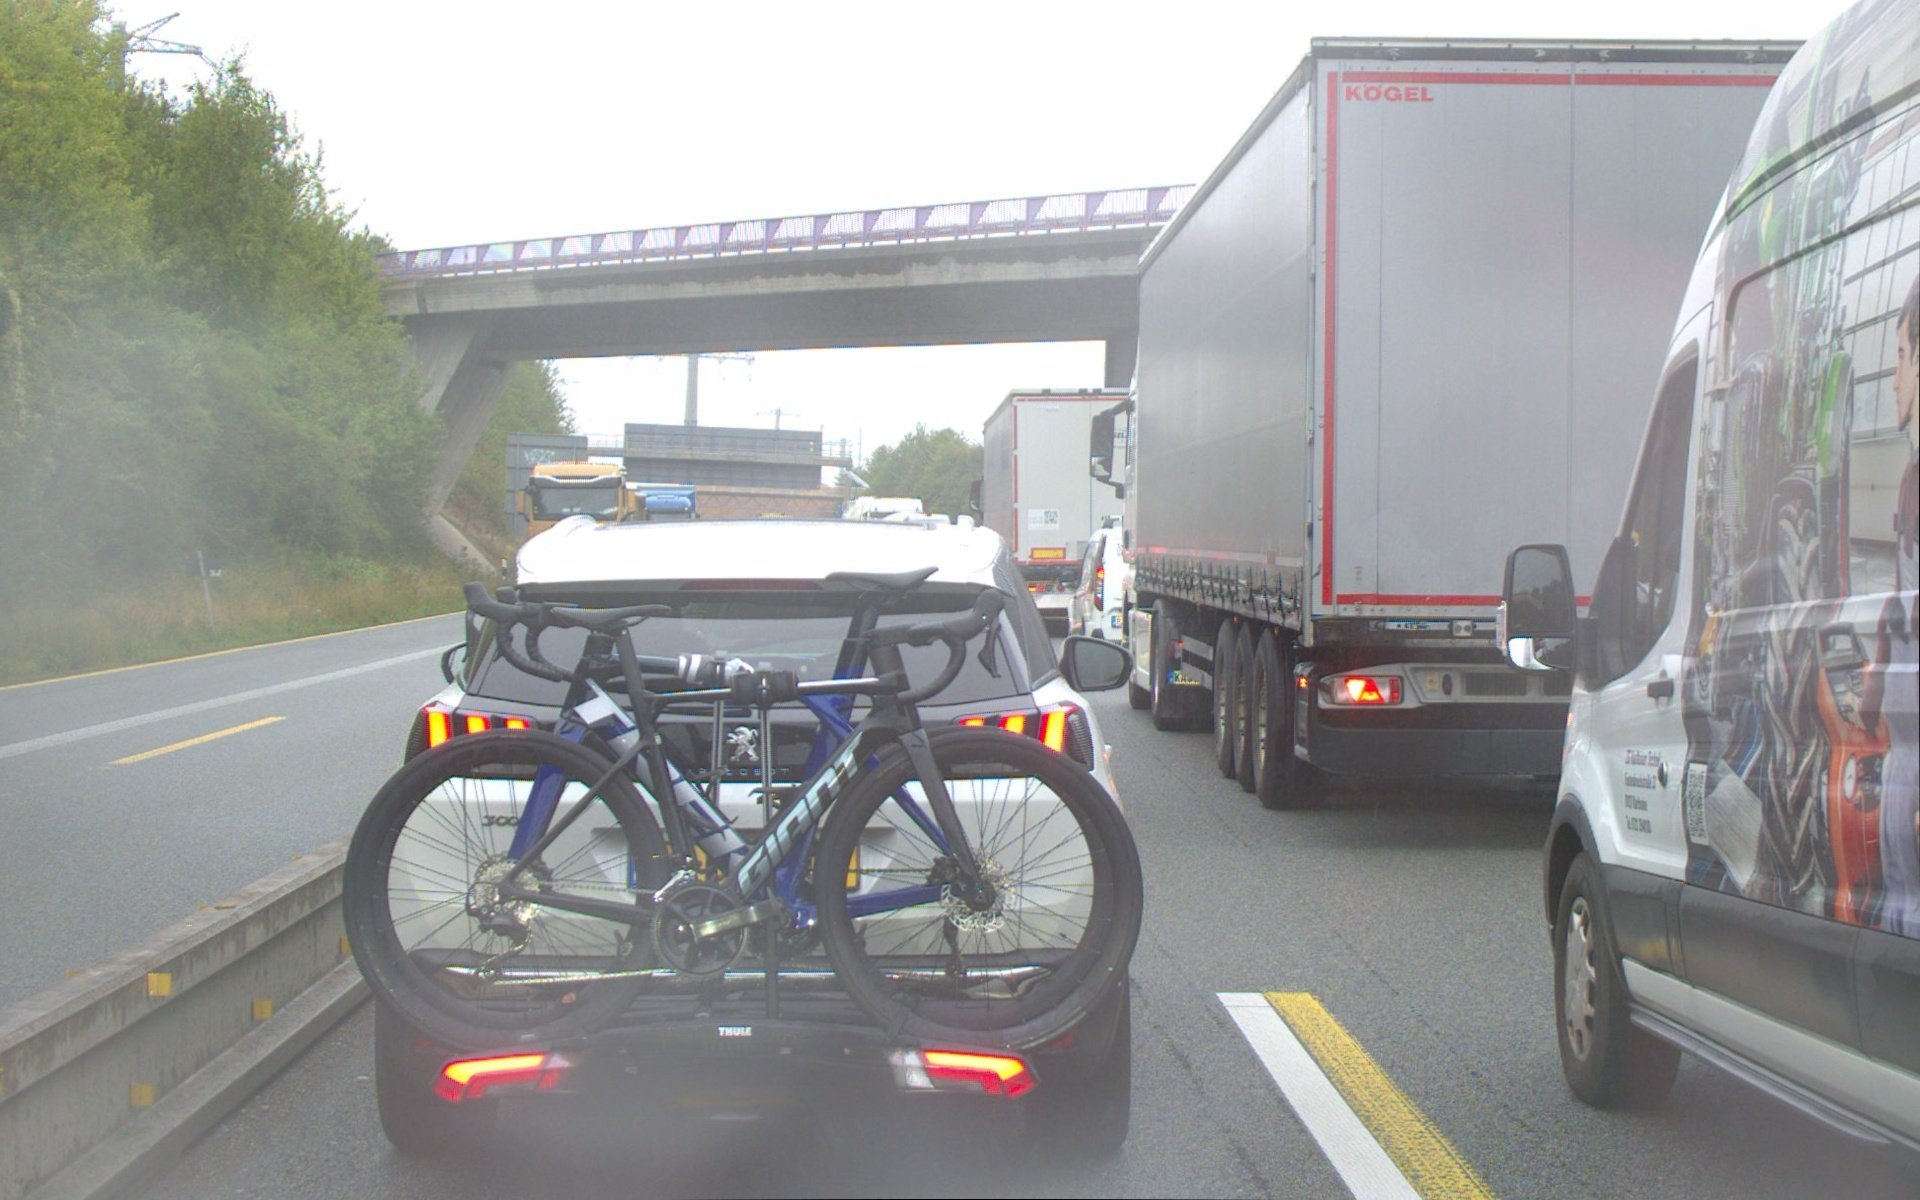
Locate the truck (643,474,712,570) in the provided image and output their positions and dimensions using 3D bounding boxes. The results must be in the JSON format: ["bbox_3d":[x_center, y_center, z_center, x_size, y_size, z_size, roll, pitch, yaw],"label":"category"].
[{"bbox_3d":[-12.929,-3.454,156.521,2.765,4.109,16.930,1,1,-6],"label":"truck"}]

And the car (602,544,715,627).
[{"bbox_3d":[-5.484,-0.279,62.841,1.779,1.438,4.328,1,1,-1],"label":"car"}]

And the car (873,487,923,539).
[{"bbox_3d":[-2.866,-4.029,159.573,2.239,2.299,4.572,1,1,0],"label":"car"}]

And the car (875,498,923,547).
[{"bbox_3d":[-2.578,-3.298,146.592,1.993,2.007,4.000,1,1,0],"label":"car"}]

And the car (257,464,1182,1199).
[{"bbox_3d":[-0.446,0.534,9.090,1.810,1.632,4.635,1,1,1],"label":"car"}]

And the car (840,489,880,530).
[{"bbox_3d":[-5.306,-4.816,183.343,1.993,2.119,4.527,1,1,0],"label":"car"}]

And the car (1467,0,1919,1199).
[{"bbox_3d":[2.649,-0.009,7.233,2.144,2.667,6.117,1,1,-1],"label":"car"}]

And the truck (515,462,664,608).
[{"bbox_3d":[-9.811,-1.692,92.304,2.681,3.644,12.312,1,1,0],"label":"truck"}]

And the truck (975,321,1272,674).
[{"bbox_3d":[2.779,-1.762,65.812,4.743,5.654,20.376,1,1,1],"label":"truck"}]

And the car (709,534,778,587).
[{"bbox_3d":[-6.834,-1.250,109.004,1.935,1.602,4.120,1,1,0],"label":"car"}]

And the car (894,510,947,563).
[{"bbox_3d":[-1.534,-2.445,132.726,1.993,2.007,4.000,1,1,-1],"label":"car"}]

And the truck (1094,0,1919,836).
[{"bbox_3d":[3.477,-1.836,26.217,3.979,5.654,20.376,1,1,0],"label":"truck"}]

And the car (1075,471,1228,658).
[{"bbox_3d":[2.313,-0.437,42.404,1.670,2.173,4.535,1,1,1],"label":"car"}]

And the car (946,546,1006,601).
[{"bbox_3d":[0.426,-0.741,95.328,1.638,1.492,3.666,1,1,0],"label":"car"}]

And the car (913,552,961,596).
[{"bbox_3d":[-0.810,-0.925,119.970,1.638,1.492,3.666,1,1,0],"label":"car"}]
